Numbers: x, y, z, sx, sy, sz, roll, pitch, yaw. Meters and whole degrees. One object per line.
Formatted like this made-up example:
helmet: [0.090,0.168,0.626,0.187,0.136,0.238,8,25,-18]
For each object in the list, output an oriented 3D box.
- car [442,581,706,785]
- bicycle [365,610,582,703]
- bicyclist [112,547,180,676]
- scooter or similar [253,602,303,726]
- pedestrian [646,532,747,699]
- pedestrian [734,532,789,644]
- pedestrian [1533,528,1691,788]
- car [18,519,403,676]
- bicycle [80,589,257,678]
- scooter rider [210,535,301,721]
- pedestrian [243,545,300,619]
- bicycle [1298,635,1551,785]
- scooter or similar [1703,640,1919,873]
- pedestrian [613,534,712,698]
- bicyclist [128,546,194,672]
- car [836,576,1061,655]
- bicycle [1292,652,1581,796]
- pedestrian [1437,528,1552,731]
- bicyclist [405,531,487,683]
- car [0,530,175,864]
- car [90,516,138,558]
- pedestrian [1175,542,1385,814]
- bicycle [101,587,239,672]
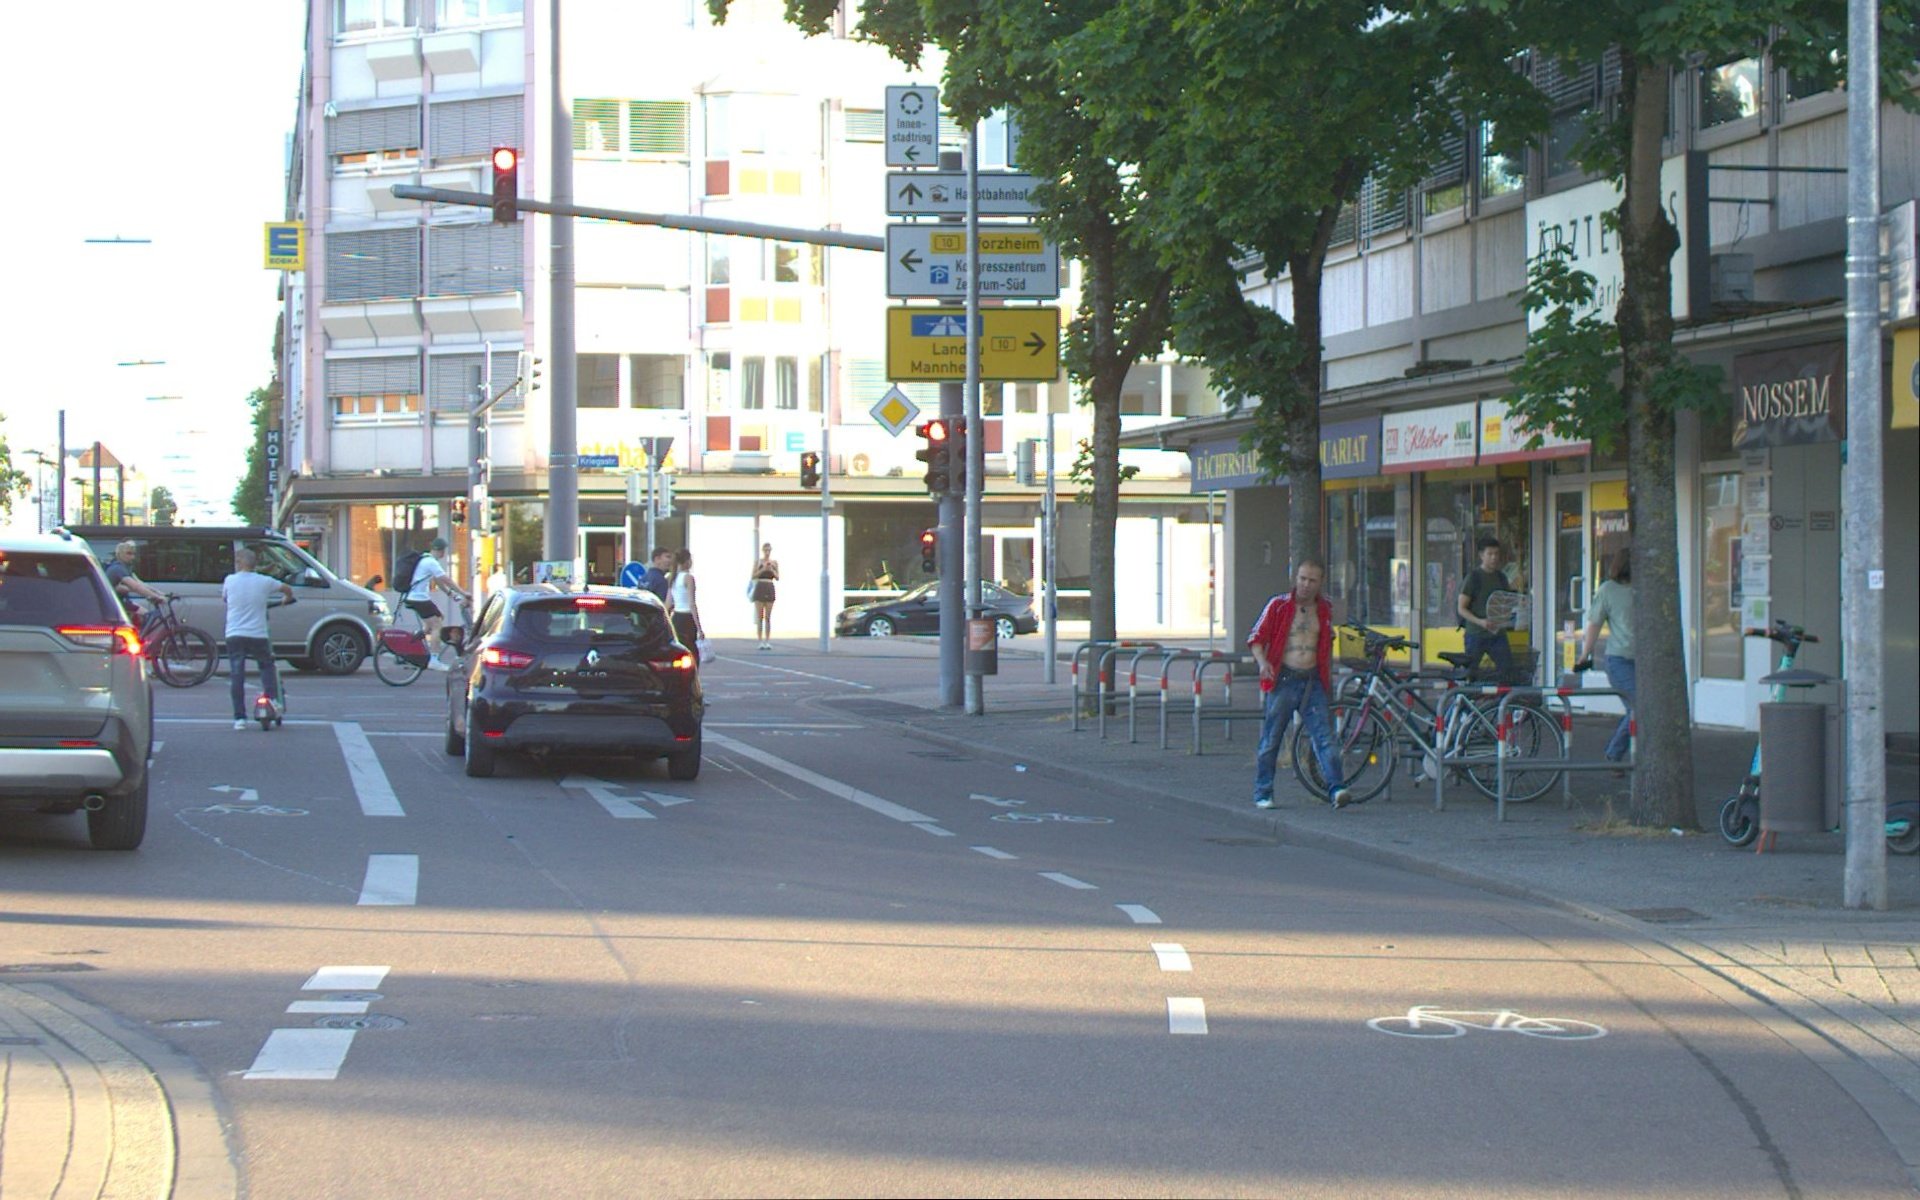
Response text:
car: [-3.054,0.588,26.574,1.764,1.435,4.001,1,0,-10]
bicycle: [-6.125,0.710,43.299,2.639,1.096,0.435,2,0,-17]
bicyclist: [-9.746,0.130,41.142,0.704,1.506,0.550,-2,1,-18]
scooter or similar: [-6.151,0.567,31.046,0.279,1.087,1.257,2,0,-5]
pedestrian: [-2.946,0.175,38.429,0.994,1.824,0.729,2,0,-11]
pedestrian: [-3.202,-0.197,55.472,0.746,1.772,0.800,2,-1,-9]
pedestrian: [4.576,0.405,24.171,0.746,1.772,0.973,2,-1,-10]
car: [-9.980,-0.057,45.815,4.682,2.007,2.000,0,1,-26]
bicycle: [-9.483,0.402,41.207,2.035,1.024,0.417,1,0,-17]
scooter rider: [-6.341,0.248,30.981,0.662,1.641,0.661,2,0,-3]
pedestrian: [-16.353,-0.434,81.672,0.851,1.720,0.933,1,-1,38]
bicycle: [3.194,0.756,23.665,1.657,0.971,0.386,2,0,-4]
scooter or similar: [4.607,0.824,18.380,1.219,1.213,0.294,-1,-2,34]
pedestrian: [-3.391,0.186,39.136,0.994,1.824,0.729,2,0,-12]
bicyclist: [-9.746,0.106,41.952,0.703,1.506,0.550,-2,1,-17]
car: [-0.271,0.344,75.379,4.550,1.615,1.999,1,0,-14]
bicycle: [3.144,0.818,22.712,1.817,0.888,0.415,2,0,-4]
pedestrian: [4.769,0.261,30.700,0.746,1.772,0.800,2,-1,-10]
bicyclist: [-6.460,0.083,43.193,0.860,1.871,0.647,2,-1,-18]
car: [-5.530,0.441,18.612,1.834,1.630,4.092,1,0,-22]
car: [-41.482,-3.078,168.595,1.993,1.894,4.001,2,0,-11]
pedestrian: [2.031,0.489,21.897,0.823,1.679,1.048,2,-1,-31]
bicycle: [-9.650,0.362,42.002,1.611,1.024,0.353,0,0,-18]
